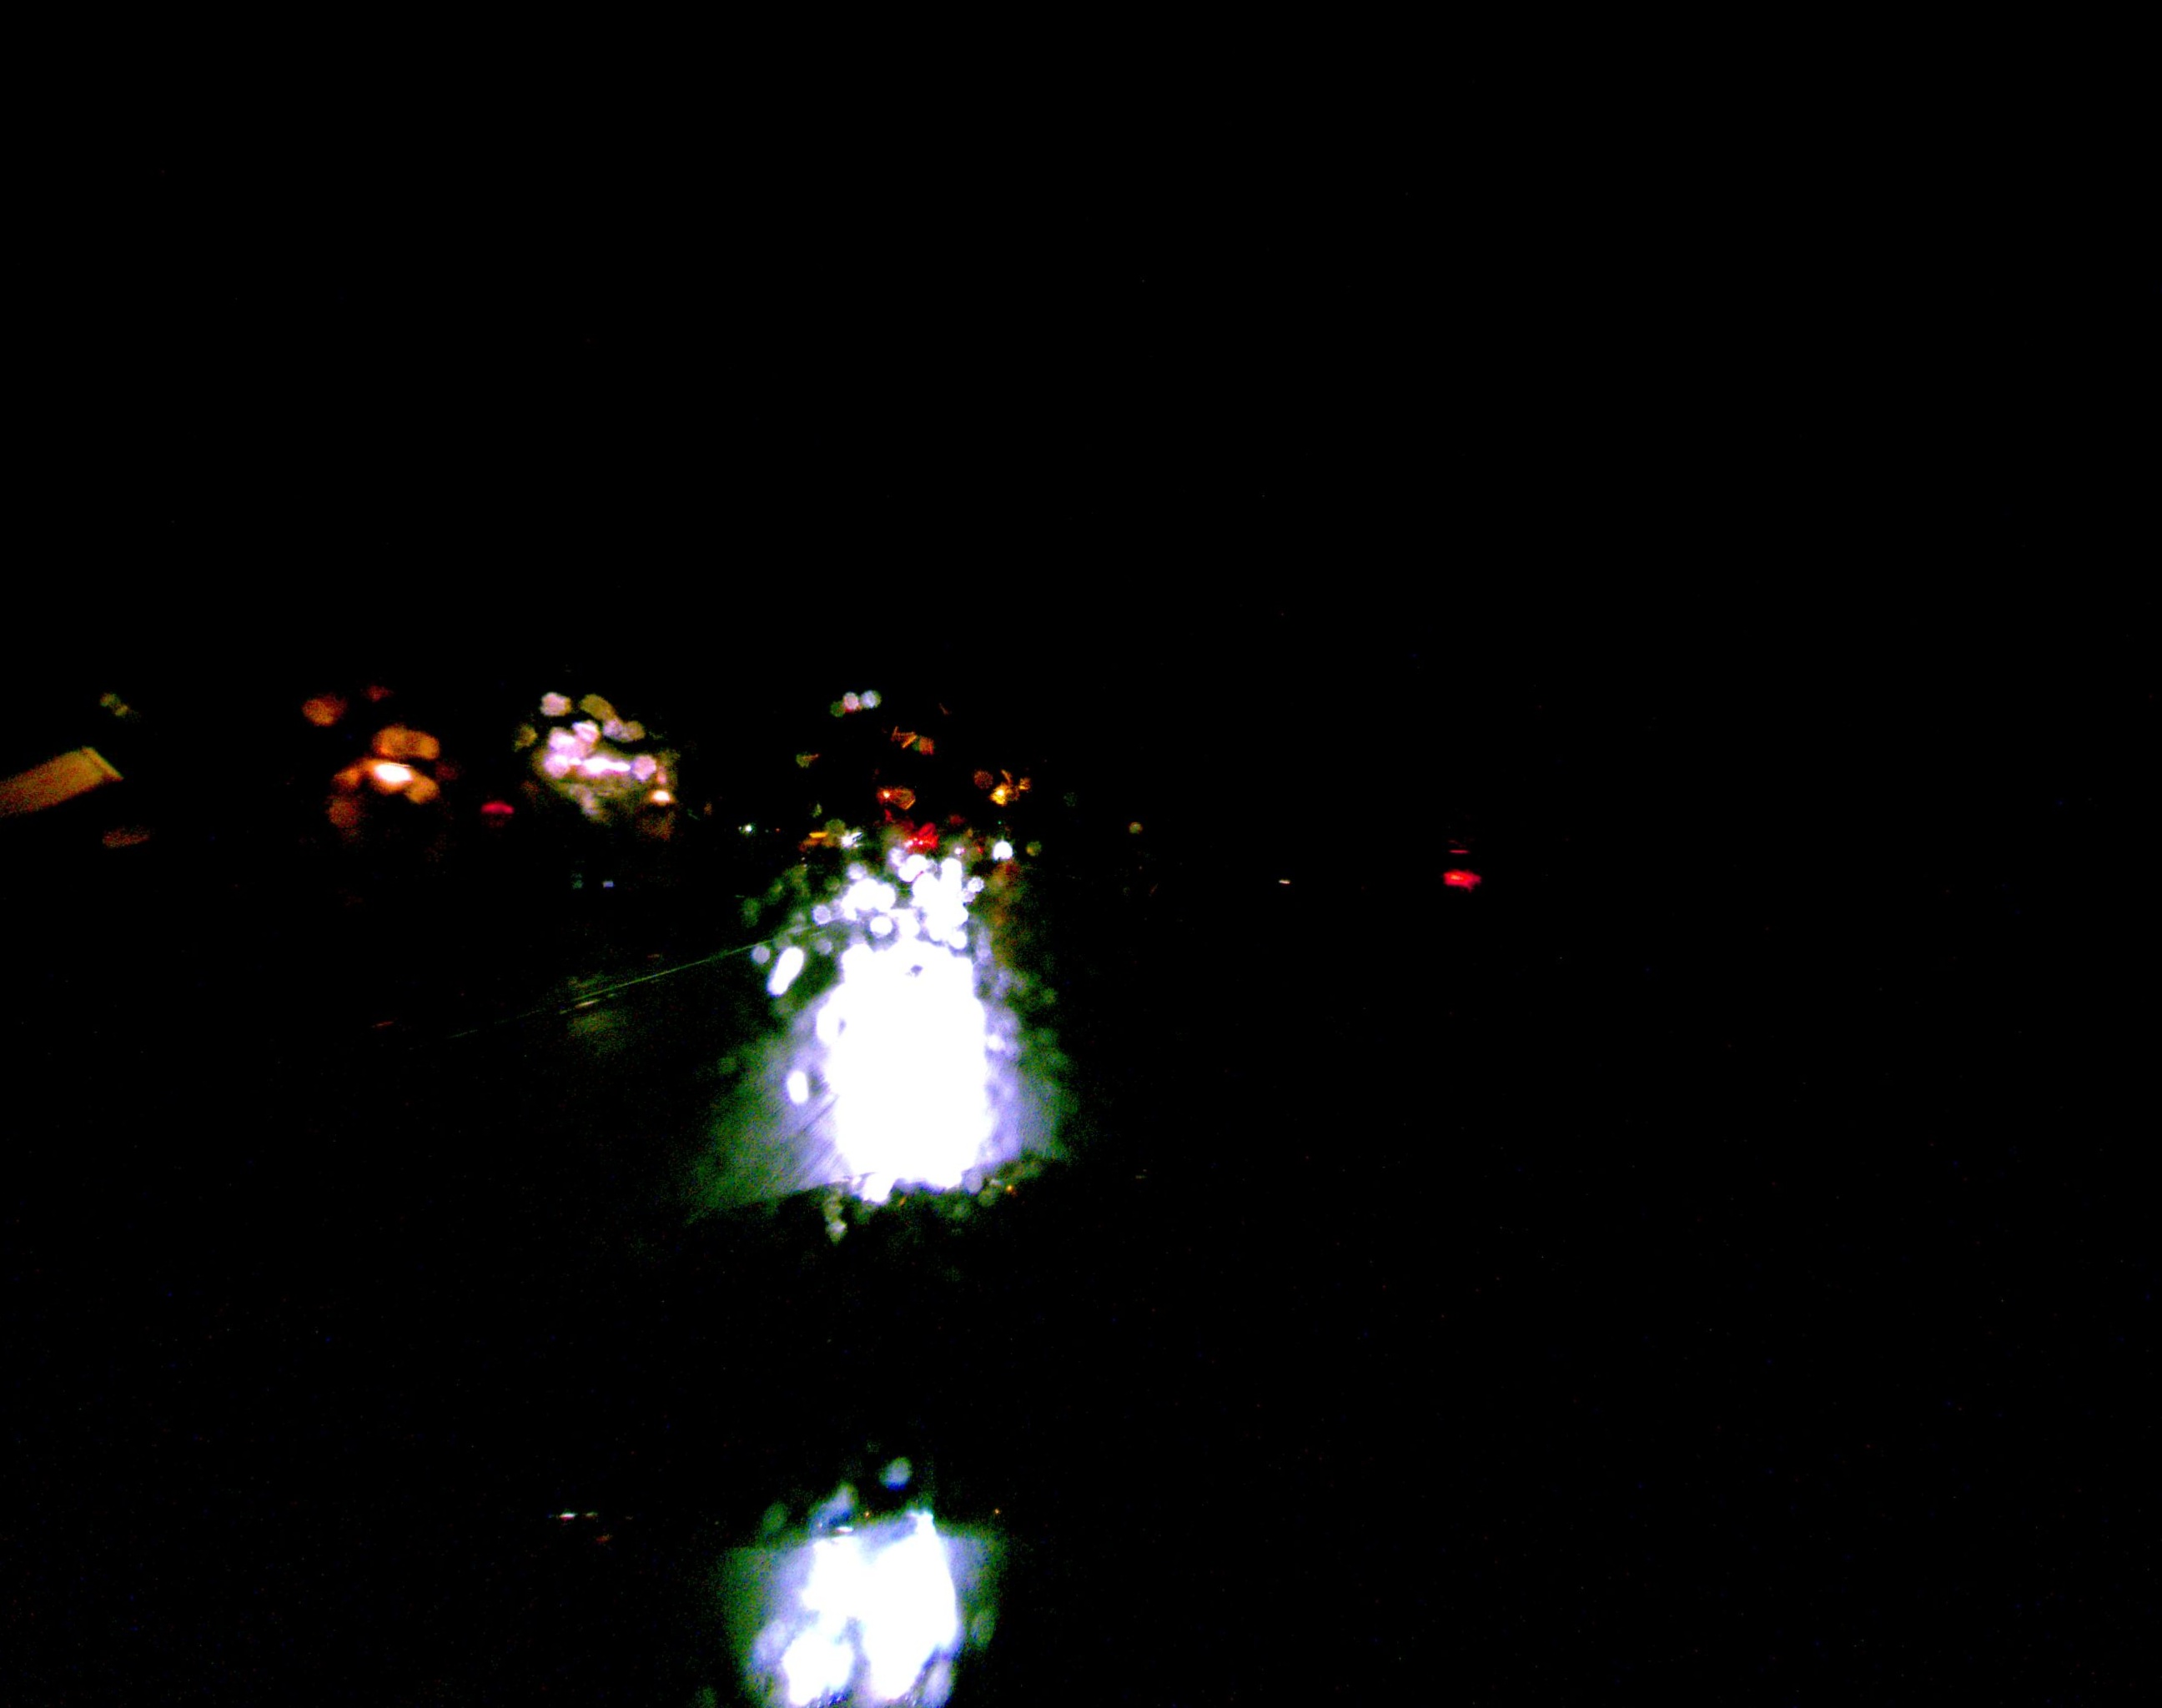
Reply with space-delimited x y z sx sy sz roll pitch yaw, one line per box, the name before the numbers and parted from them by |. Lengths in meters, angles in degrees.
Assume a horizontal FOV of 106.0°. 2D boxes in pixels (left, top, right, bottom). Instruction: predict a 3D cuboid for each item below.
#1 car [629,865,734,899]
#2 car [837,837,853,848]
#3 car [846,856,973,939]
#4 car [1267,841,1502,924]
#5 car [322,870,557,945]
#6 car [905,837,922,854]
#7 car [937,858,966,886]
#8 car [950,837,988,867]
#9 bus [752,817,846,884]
car | -17.879 1.226 36.738 1.833 1.376 4.748 1 -1 9
car | -34.955 -1.641 120.740 1.643 1.510 4.084 -3 1 -24
car | -3.507 0.853 17.447 1.951 1.522 4.394 1 -1 -3
car | 6.924 0.602 18.888 4.714 1.691 1.973 0 -1 42
car | -14.928 1.177 19.281 1.676 1.398 4.166 -3 0 14
car | -21.569 -1.078 105.197 1.994 2.014 3.986 1 -1 -10
car | -8.103 1.110 51.014 1.695 1.599 3.789 0 1 -9
car | -10.575 -0.265 76.502 2.545 2.497 5.682 -1 3 -18
bus | -18.723 -0.282 53.305 2.913 3.868 12.926 0 0 -33
